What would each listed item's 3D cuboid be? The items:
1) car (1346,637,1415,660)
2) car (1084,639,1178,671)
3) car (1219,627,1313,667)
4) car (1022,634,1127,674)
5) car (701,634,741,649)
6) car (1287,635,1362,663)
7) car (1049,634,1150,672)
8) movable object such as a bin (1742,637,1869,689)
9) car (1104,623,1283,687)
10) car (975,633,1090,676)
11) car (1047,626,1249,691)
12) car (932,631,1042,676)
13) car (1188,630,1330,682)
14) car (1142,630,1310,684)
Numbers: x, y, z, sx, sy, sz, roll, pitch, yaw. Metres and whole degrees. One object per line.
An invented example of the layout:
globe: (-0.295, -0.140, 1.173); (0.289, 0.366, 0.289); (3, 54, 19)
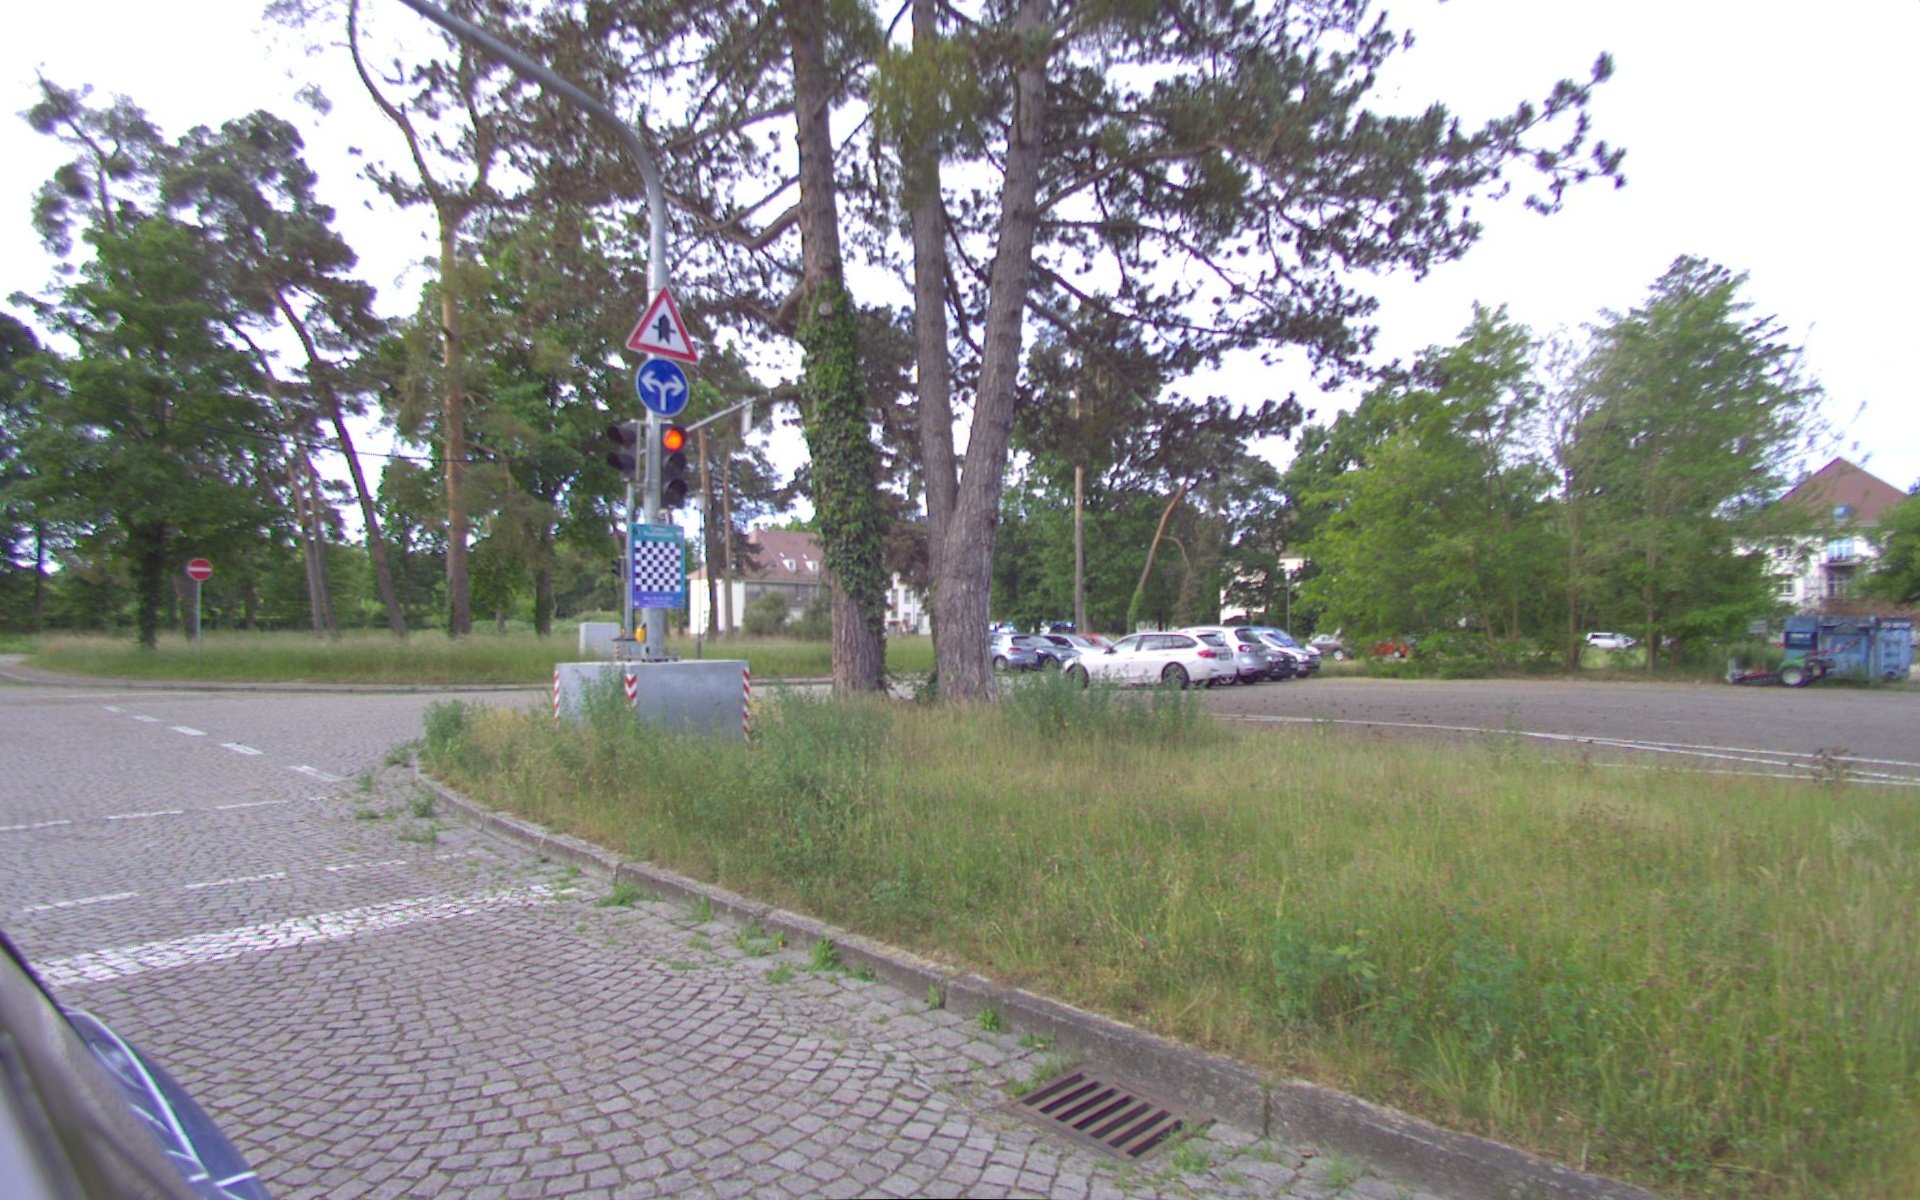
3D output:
car: (29.158, 3.348, 70.239); (4.089, 1.455, 1.701); (0, -2, 44)
car: (7.695, 2.460, 45.721); (4.054, 1.250, 1.527); (0, -2, 43)
car: (16.839, 2.543, 55.845); (4.608, 2.021, 1.884); (0, -1, 45)
car: (4.731, 2.205, 42.207); (1.692, 1.485, 4.253); (3, -2, -45)
car: (-32.372, 5.631, 136.899); (5.789, 1.976, 2.167); (-3, -3, 38)
car: (22.499, 3.025, 62.550); (1.630, 1.605, 4.090); (3, -2, -45)
car: (6.065, 2.302, 44.300); (4.187, 1.493, 1.693); (0, -2, 43)
movable object such as a bin: (19.911, 1.461, 23.876); (2.268, 1.134, 0.847); (0, -2, 41)
car: (6.324, 1.525, 27.673); (4.369, 1.610, 1.849); (-3, -4, 37)
car: (2.847, 2.128, 40.265); (4.441, 1.394, 1.641); (2, -1, 41)
car: (4.695, 1.520, 25.750); (4.751, 1.499, 1.841); (-4, -5, 40)
car: (0.997, 1.980, 38.453); (4.012, 1.439, 1.674); (2, -1, 41)
car: (9.394, 1.790, 31.968); (3.959, 1.481, 1.564); (-5, -5, 40)
car: (7.778, 1.710, 29.871); (4.446, 1.435, 1.699); (-5, -5, 41)
